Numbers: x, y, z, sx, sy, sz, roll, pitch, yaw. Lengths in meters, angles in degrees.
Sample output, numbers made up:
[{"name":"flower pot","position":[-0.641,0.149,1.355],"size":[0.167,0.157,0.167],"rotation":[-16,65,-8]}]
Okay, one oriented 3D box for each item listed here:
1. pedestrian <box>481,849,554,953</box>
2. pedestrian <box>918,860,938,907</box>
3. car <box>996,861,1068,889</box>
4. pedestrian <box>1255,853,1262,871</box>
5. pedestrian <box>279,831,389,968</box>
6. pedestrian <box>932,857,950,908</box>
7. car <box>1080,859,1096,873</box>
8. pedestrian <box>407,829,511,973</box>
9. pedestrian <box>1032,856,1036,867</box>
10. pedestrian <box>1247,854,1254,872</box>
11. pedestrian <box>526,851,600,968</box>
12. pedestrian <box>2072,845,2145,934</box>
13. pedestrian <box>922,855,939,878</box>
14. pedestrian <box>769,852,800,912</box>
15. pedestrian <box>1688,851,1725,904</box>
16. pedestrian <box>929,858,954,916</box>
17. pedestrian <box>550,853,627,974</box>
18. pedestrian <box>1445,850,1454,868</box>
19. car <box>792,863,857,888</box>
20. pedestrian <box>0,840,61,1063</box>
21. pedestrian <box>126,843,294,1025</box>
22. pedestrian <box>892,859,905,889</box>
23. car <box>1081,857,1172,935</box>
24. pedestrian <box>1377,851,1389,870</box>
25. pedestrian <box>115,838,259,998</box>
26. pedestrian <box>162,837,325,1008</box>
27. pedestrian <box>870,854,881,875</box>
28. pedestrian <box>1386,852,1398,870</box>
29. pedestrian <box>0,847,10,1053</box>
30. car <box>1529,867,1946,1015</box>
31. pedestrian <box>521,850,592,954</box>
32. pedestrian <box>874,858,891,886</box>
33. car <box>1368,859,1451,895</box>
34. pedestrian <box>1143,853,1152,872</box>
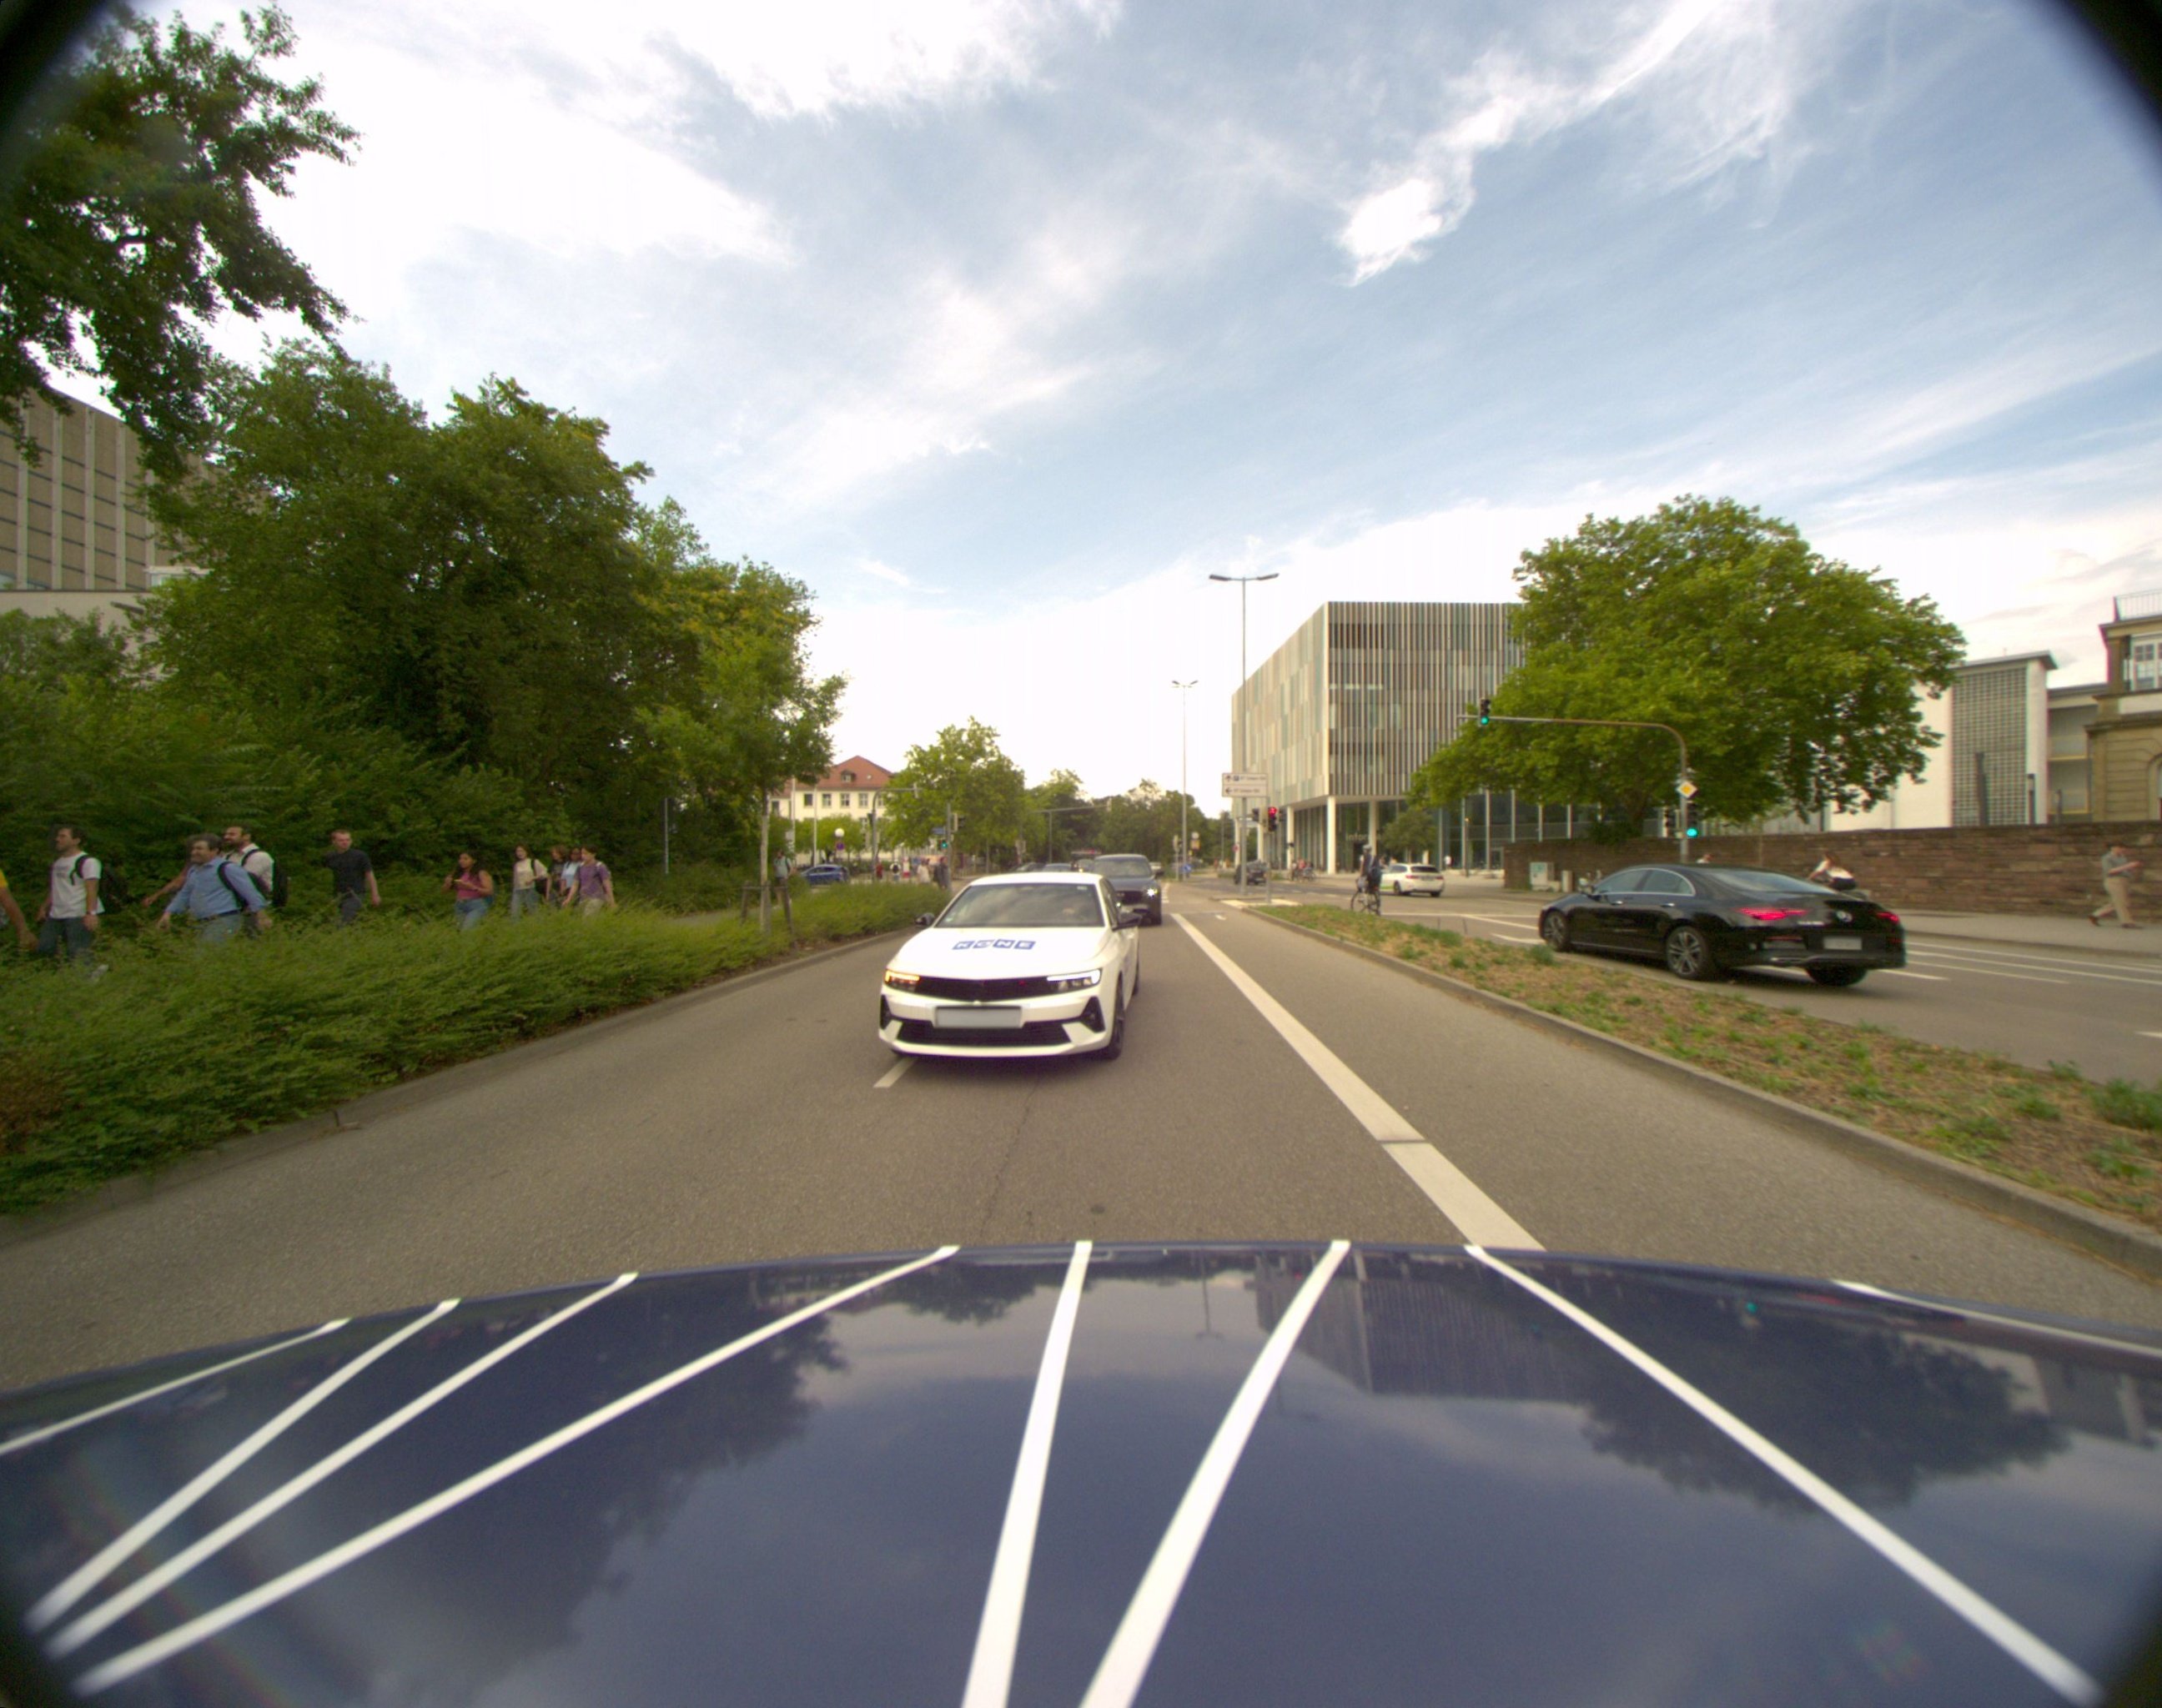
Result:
[{"name":"pedestrian","position":[-9.648,0.790,13.044],"size":[0.658,1.735,0.780],"rotation":[0,0,1]},{"name":"pedestrian","position":[-5.535,1.050,27.506],"size":[0.547,1.677,0.637],"rotation":[0,0,0]},{"name":"car","position":[-3.138,1.320,48.488],"size":[4.181,1.547,1.801],"rotation":[-2,0,-26]},{"name":"pedestrian","position":[18.055,0.845,77.341],"size":[0.512,1.826,0.624],"rotation":[0,-1,-1]},{"name":"pedestrian","position":[-9.801,0.579,10.001],"size":[0.658,1.735,0.780],"rotation":[0,0,1]},{"name":"pedestrian","position":[-4.798,0.963,26.080],"size":[0.455,1.725,0.637],"rotation":[0,0,1]},{"name":"car","position":[0.807,1.296,84.342],"size":[1.661,1.455,3.999],"rotation":[0,0,-1]},{"name":"pedestrian","position":[-7.815,0.568,9.575],"size":[0.658,1.735,0.780],"rotation":[0,0,1]},{"name":"pedestrian","position":[-8.506,1.407,137.130],"size":[0.798,1.922,0.760],"rotation":[0,0,-1]},{"name":"pedestrian","position":[17.264,0.915,77.244],"size":[0.512,1.826,0.772],"rotation":[0,-1,-1]},{"name":"pedestrian","position":[-7.972,0.829,11.720],"size":[0.582,1.735,0.790],"rotation":[0,0,1]},{"name":"pedestrian","position":[21.414,0.711,15.838],"size":[0.748,1.772,0.782],"rotation":[-1,2,-30]},{"name":"pedestrian","position":[-11.234,0.945,56.784],"size":[0.953,1.698,0.702],"rotation":[-2,0,18]},{"name":"pedestrian","position":[-8.974,0.830,23.023],"size":[0.646,1.785,0.740],"rotation":[0,0,0]},{"name":"pedestrian","position":[21.544,0.799,26.175],"size":[0.748,1.772,0.782],"rotation":[-2,2,-32]},{"name":"pedestrian","position":[-4.240,0.995,23.131],"size":[0.603,1.725,0.654],"rotation":[0,0,0]},{"name":"pedestrian","position":[-7.304,0.857,11.309],"size":[0.626,1.735,0.780],"rotation":[0,0,1]},{"name":"pedestrian","position":[36.722,0.483,75.810],"size":[0.635,1.768,0.598],"rotation":[0,1,45]},{"name":"car","position":[-16.582,1.390,49.252],"size":[3.580,1.483,1.674],"rotation":[-1,1,-1]},{"name":"pedestrian","position":[-8.497,0.737,5.653],"size":[0.658,1.679,0.842],"rotation":[0,0,1]},{"name":"pedestrian","position":[-8.277,0.725,7.261],"size":[0.658,1.638,0.812],"rotation":[0,0,1]},{"name":"pedestrian","position":[-11.279,1.238,46.973],"size":[0.647,1.841,0.828],"rotation":[-2,1,-11]},{"name":"car","position":[1.001,0.908,18.397],"size":[1.904,1.639,4.645],"rotation":[-1,0,1]},{"name":"pedestrian","position":[27.706,0.602,69.682],"size":[0.731,1.730,0.677],"rotation":[-1,0,-34]},{"name":"pedestrian","position":[-9.871,0.678,8.424],"size":[0.658,1.689,0.780],"rotation":[0,0,1]},{"name":"pedestrian","position":[-9.138,0.712,8.337],"size":[0.658,1.756,0.958],"rotation":[-2,0,1]},{"name":"pedestrian","position":[-19.704,0.984,72.864],"size":[0.687,1.951,0.601],"rotation":[-2,1,-40]},{"name":"pedestrian","position":[28.265,0.662,68.986],"size":[0.731,1.591,0.677],"rotation":[-1,0,-31]},{"name":"pedestrian","position":[-9.032,0.770,5.681],"size":[0.658,1.657,0.971],"rotation":[0,0,1]},{"name":"car","position":[8.113,0.942,10.092],"size":[1.806,1.480,4.406],"rotation":[0,0,1]},{"name":"pedestrian","position":[-8.951,0.797,12.992],"size":[0.658,1.735,0.780],"rotation":[0,0,1]},{"name":"pedestrian","position":[-12.864,1.139,49.264],"size":[0.769,1.794,0.892],"rotation":[-2,0,4]},{"name":"car","position":[14.529,0.981,33.866],"size":[1.806,1.480,4.416],"rotation":[0,0,0]},{"name":"pedestrian","position":[6.467,0.809,74.190],"size":[0.727,1.842,1.064],"rotation":[-1,0,-2]}]
